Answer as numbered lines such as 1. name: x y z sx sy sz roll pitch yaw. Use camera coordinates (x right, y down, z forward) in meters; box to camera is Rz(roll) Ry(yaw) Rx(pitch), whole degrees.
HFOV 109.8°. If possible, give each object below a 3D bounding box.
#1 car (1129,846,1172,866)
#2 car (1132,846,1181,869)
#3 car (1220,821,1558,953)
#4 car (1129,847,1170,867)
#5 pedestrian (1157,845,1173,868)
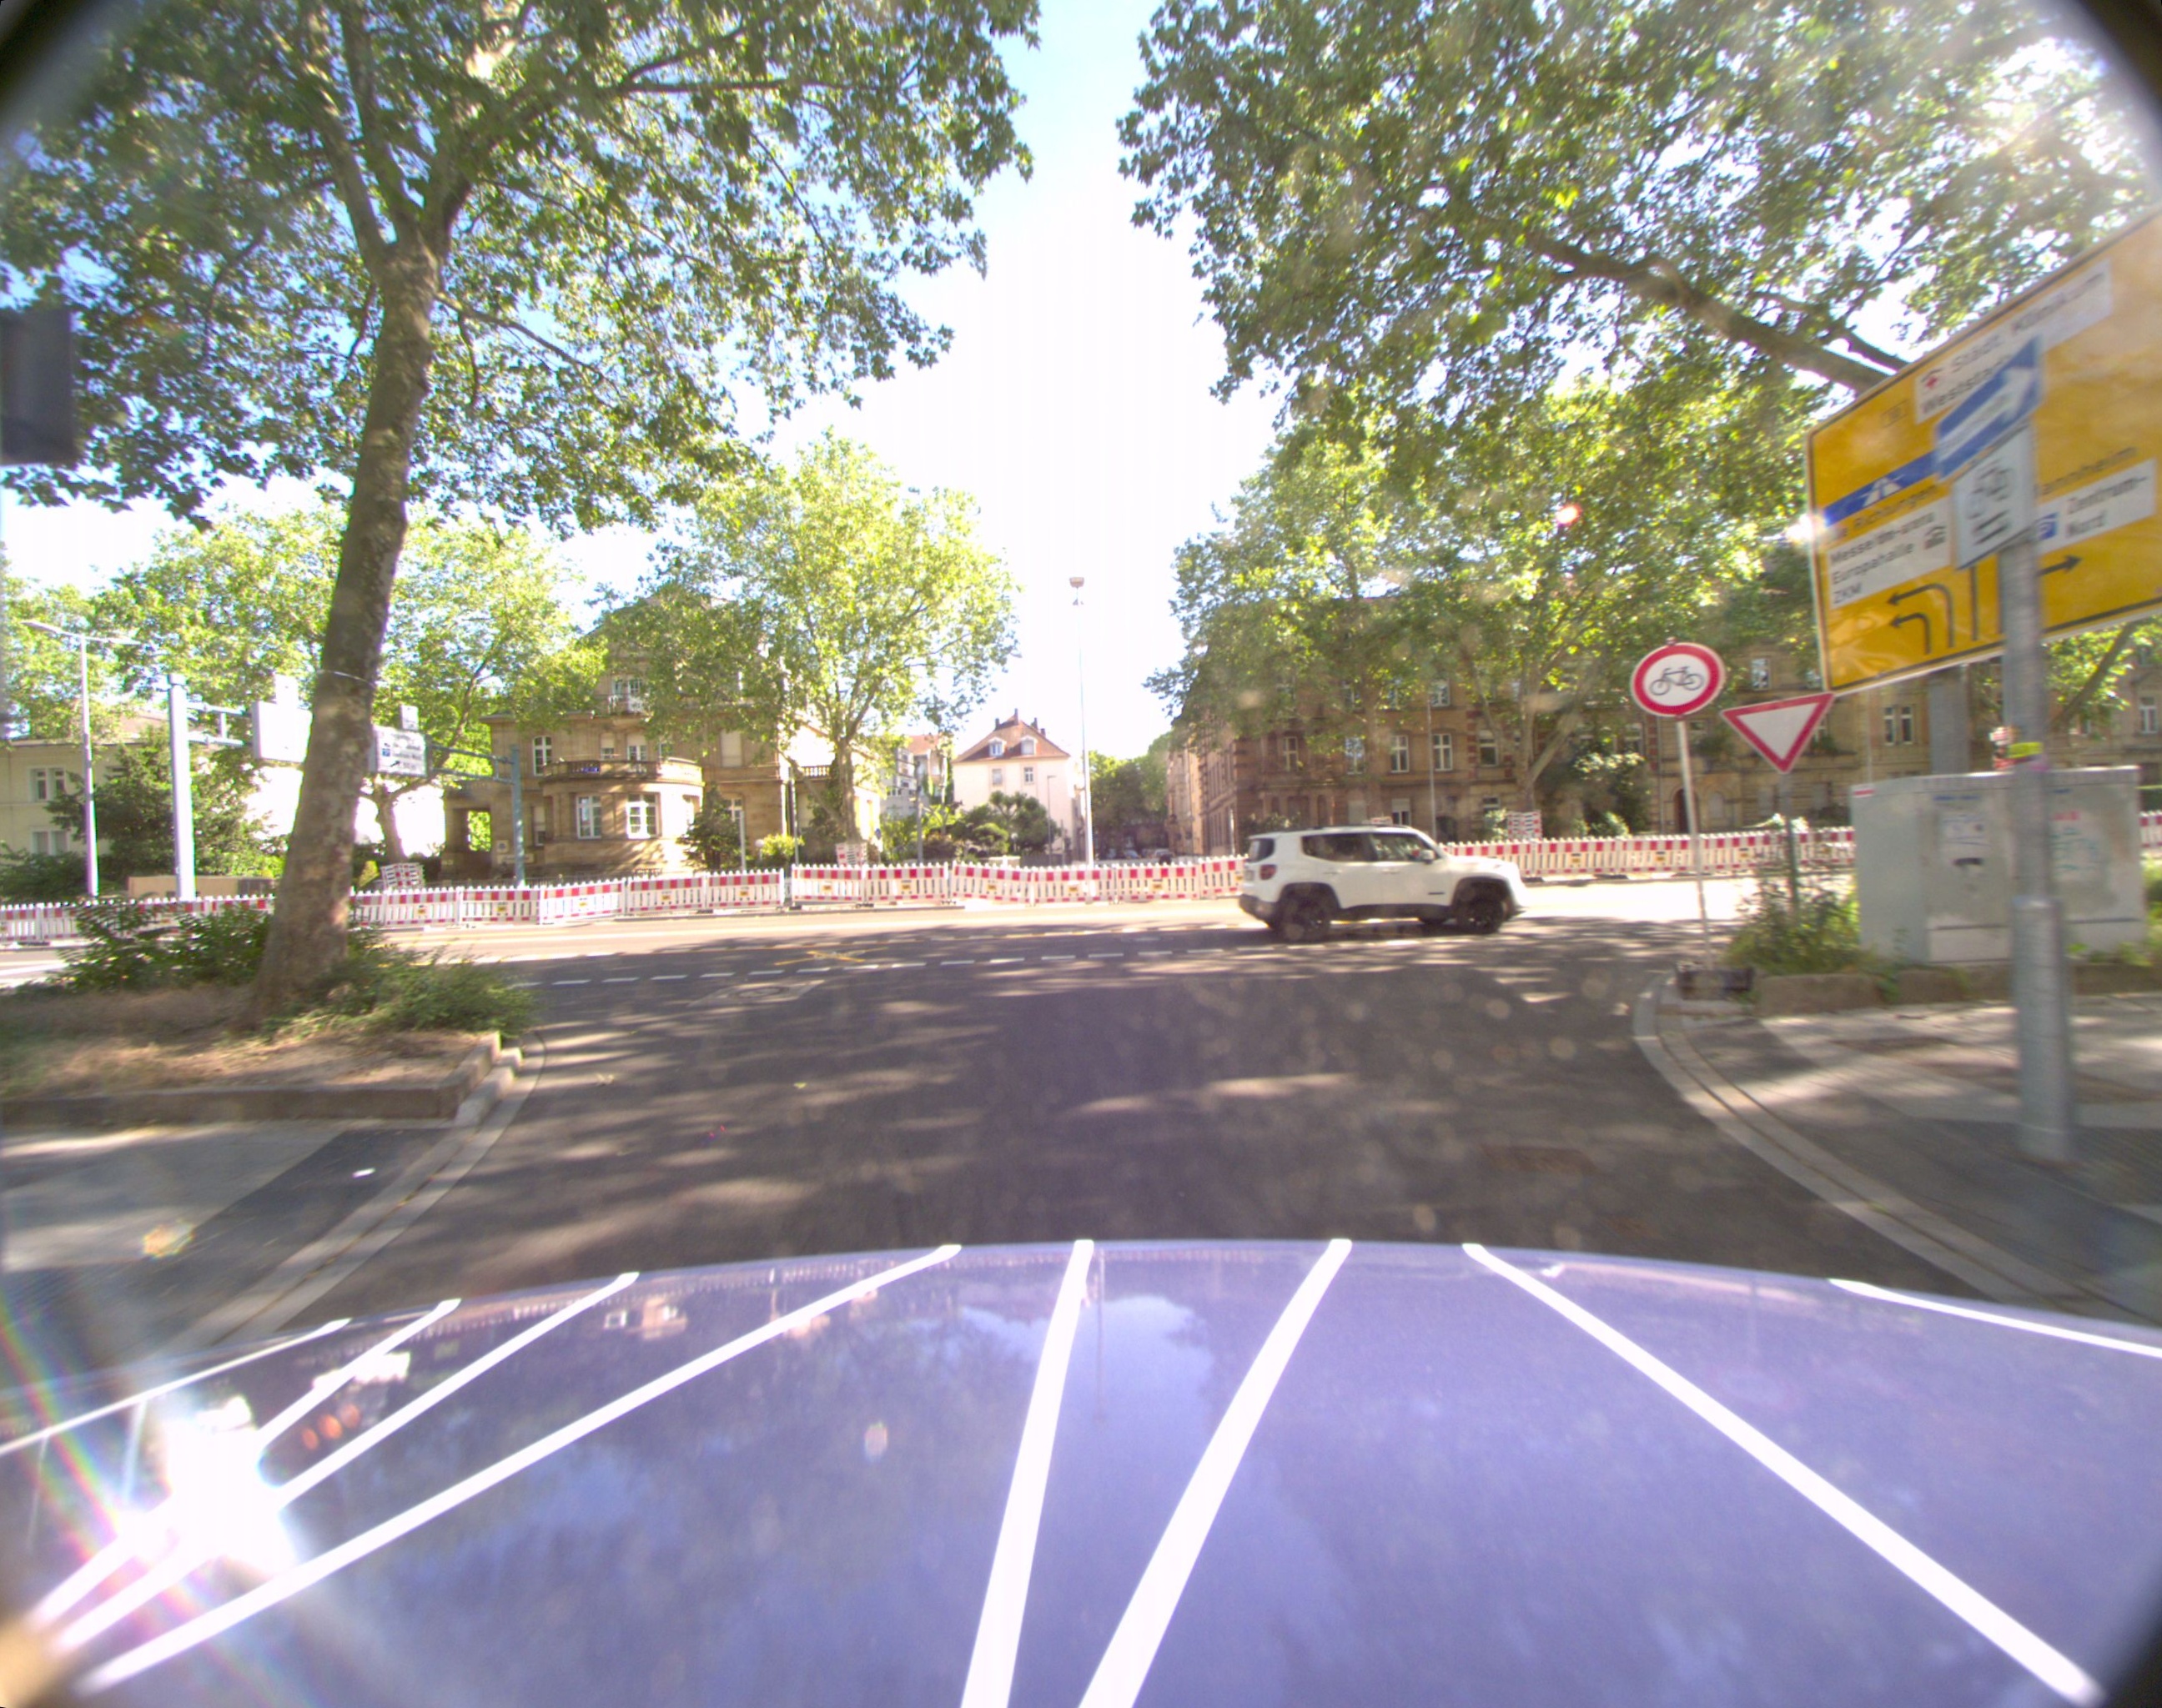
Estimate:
1. car: 6.102 0.162 66.731 3.676 1.640 1.601 -2 0 3
2. car: 5.995 0.287 60.800 3.800 1.726 1.623 -2 0 3
3. car: 4.628 0.461 11.912 4.503 1.716 1.869 -3 1 0
4. car: 6.447 0.250 71.715 3.800 1.726 1.623 -2 0 3
5. pedestrian: 6.166 0.199 55.719 0.761 1.651 0.826 -3 0 -24
